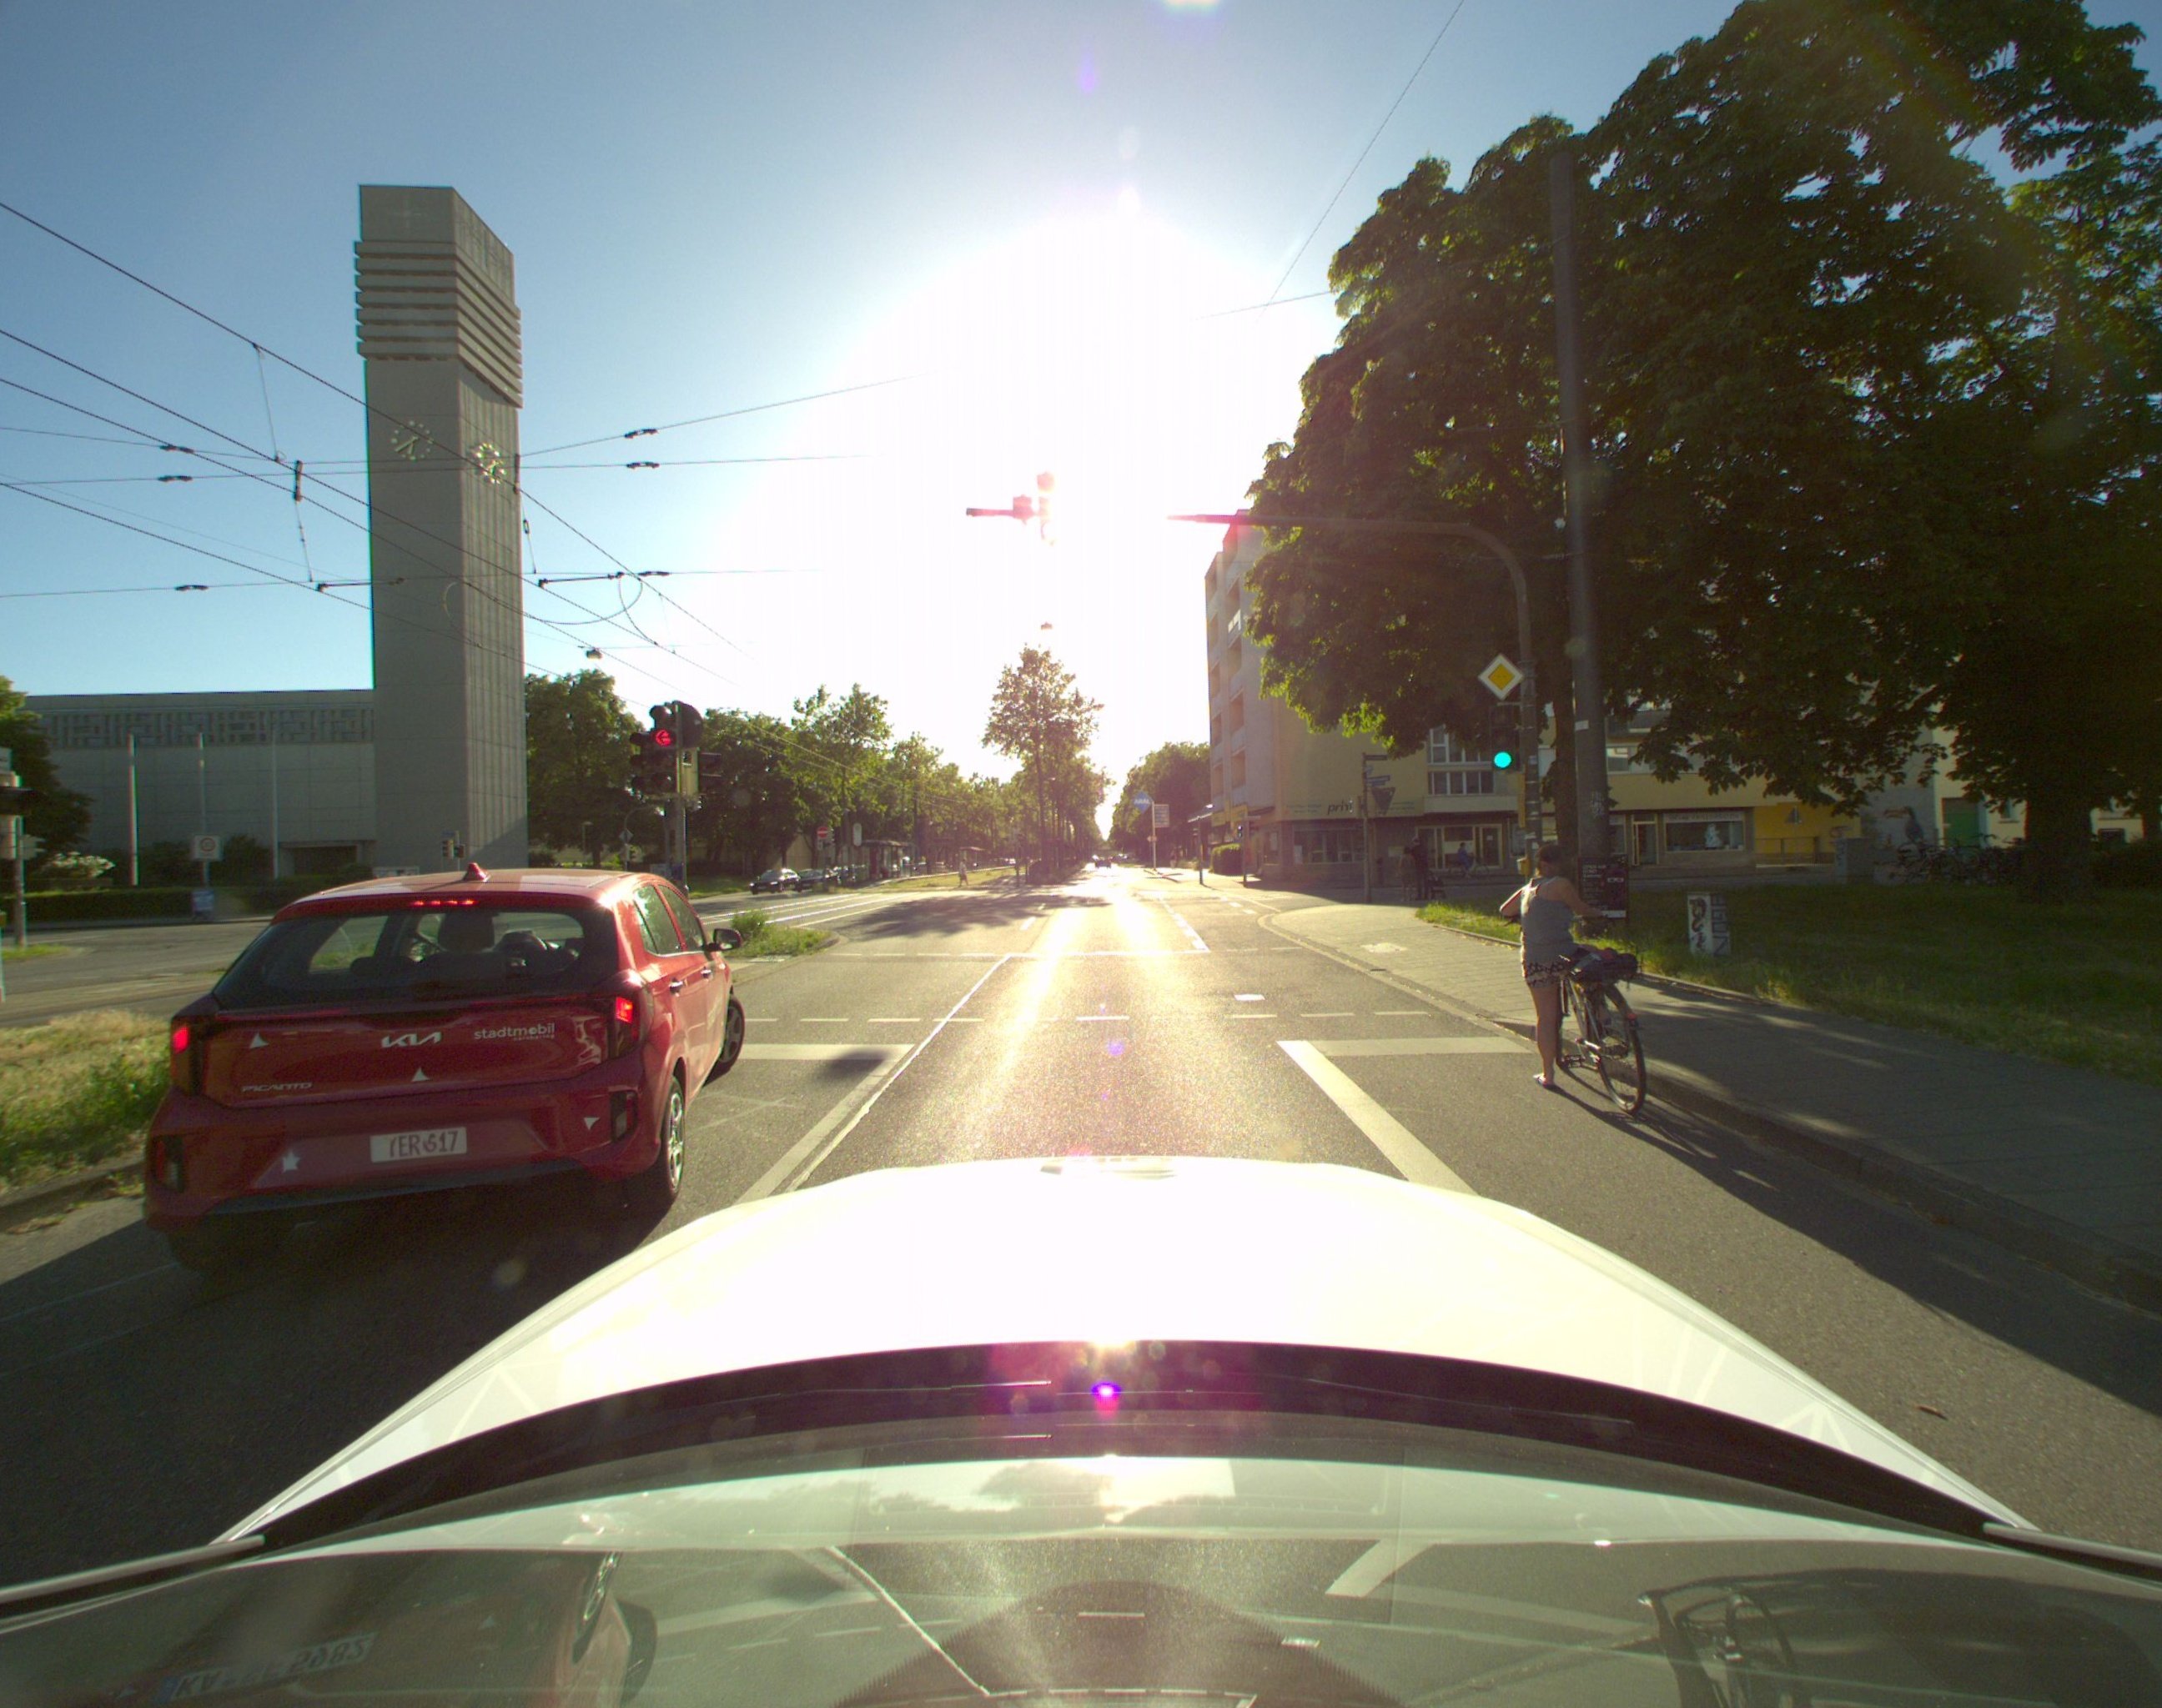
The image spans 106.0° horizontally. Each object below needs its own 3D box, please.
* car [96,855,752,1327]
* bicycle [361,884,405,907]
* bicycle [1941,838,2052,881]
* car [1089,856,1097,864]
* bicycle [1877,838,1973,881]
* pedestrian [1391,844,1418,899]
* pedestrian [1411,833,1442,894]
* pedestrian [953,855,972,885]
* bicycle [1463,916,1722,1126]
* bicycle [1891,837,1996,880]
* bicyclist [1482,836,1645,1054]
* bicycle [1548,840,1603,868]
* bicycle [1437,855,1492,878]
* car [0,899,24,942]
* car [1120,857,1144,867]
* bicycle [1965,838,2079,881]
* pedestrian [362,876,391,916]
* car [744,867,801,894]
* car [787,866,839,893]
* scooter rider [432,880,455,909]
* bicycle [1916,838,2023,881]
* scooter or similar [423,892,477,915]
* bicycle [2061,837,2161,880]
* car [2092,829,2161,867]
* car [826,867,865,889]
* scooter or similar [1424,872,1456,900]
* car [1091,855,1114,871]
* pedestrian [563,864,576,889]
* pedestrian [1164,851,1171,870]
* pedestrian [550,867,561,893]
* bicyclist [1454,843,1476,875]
[{"bbox_3d":[-2.922,0.764,4.636,1.699,1.508,3.676,0,0,-19],"label":"car"},{"bbox_3d":[-33.791,1.988,39.453,0.488,1.046,1.687,1,0,9],"label":"bicycle"},{"bbox_3d":[23.168,0.145,20.673,0.595,1.034,2.007,1,0,1],"label":"bicycle"},{"bbox_3d":[2.730,1.337,184.472,1.887,1.611,4.500,1,0,0],"label":"car"},{"bbox_3d":[21.236,0.135,20.536,0.595,1.034,1.796,1,0,1],"label":"bicycle"},{"bbox_3d":[9.069,0.480,22.848,0.642,1.522,0.498,1,-1,13],"label":"pedestrian"},{"bbox_3d":[9.681,0.259,22.854,0.724,1.682,0.534,1,-1,13],"label":"pedestrian"},{"bbox_3d":[-6.502,0.860,44.614,0.887,1.606,0.614,1,-1,1],"label":"pedestrian"},{"bbox_3d":[3.143,0.956,5.237,0.645,0.973,1.805,1,0,4],"label":"bicycle"},{"bbox_3d":[21.887,0.115,20.729,0.595,1.034,2.007,1,0,1],"label":"bicycle"},{"bbox_3d":[3.156,0.559,5.397,0.635,1.323,0.804,1,0,4],"label":"bicyclist"},{"bbox_3d":[25.029,-0.012,41.238,2.462,1.399,0.608,1,-1,0],"label":"bicycle"},{"bbox_3d":[18.202,0.587,38.699,2.234,0.987,0.792,-1,5,16],"label":"bicycle"},{"bbox_3d":[-38.719,2.228,26.865,4.695,1.401,1.997,1,0,-5],"label":"car"},{"bbox_3d":[9.133,1.444,146.483,4.009,1.750,1.739,1,0,-27],"label":"car"},{"bbox_3d":[23.805,0.145,20.660,0.595,1.034,2.007,1,0,1],"label":"bicycle"},{"bbox_3d":[-29.602,1.757,34.226,0.440,1.666,0.748,1,-1,11],"label":"pedestrian"},{"bbox_3d":[-19.531,1.630,51.733,1.800,1.533,4.362,-2,0,2],"label":"car"},{"bbox_3d":[-17.049,1.597,52.043,1.681,1.533,4.362,-2,0,2],"label":"car"},{"bbox_3d":[-27.395,1.748,35.002,0.526,1.218,0.585,1,-1,-14],"label":"scooter rider"},{"bbox_3d":[22.538,0.147,20.718,0.595,1.034,1.991,1,0,1],"label":"bicycle"},{"bbox_3d":[-27.153,2.122,35.066,1.737,0.899,0.561,-2,-1,-15],"label":"scooter or similar"},{"bbox_3d":[26.258,0.117,20.591,0.595,1.034,2.007,1,0,1],"label":"bicycle"},{"bbox_3d":[46.695,-0.298,34.059,5.044,1.494,2.243,-1,2,25],"label":"car"},{"bbox_3d":[-16.765,1.690,58.124,1.560,1.402,3.916,1,0,2],"label":"car"},{"bbox_3d":[9.832,0.866,22.326,0.596,0.737,0.681,1,0,1],"label":"scooter or similar"},{"bbox_3d":[2.619,1.131,102.511,2.007,1.860,3.983,1,0,-12],"label":"car"},{"bbox_3d":[-31.298,1.401,49.856,0.434,1.507,0.488,1,-1,-3],"label":"pedestrian"},{"bbox_3d":[8.146,0.593,76.711,0.572,1.747,0.506,1,-1,1],"label":"pedestrian"},{"bbox_3d":[-32.080,1.583,49.731,0.434,1.560,0.305,1,-1,-3],"label":"pedestrian"},{"bbox_3d":[18.239,0.218,38.693,0.762,1.471,0.902,-3,0,18],"label":"bicyclist"}]
